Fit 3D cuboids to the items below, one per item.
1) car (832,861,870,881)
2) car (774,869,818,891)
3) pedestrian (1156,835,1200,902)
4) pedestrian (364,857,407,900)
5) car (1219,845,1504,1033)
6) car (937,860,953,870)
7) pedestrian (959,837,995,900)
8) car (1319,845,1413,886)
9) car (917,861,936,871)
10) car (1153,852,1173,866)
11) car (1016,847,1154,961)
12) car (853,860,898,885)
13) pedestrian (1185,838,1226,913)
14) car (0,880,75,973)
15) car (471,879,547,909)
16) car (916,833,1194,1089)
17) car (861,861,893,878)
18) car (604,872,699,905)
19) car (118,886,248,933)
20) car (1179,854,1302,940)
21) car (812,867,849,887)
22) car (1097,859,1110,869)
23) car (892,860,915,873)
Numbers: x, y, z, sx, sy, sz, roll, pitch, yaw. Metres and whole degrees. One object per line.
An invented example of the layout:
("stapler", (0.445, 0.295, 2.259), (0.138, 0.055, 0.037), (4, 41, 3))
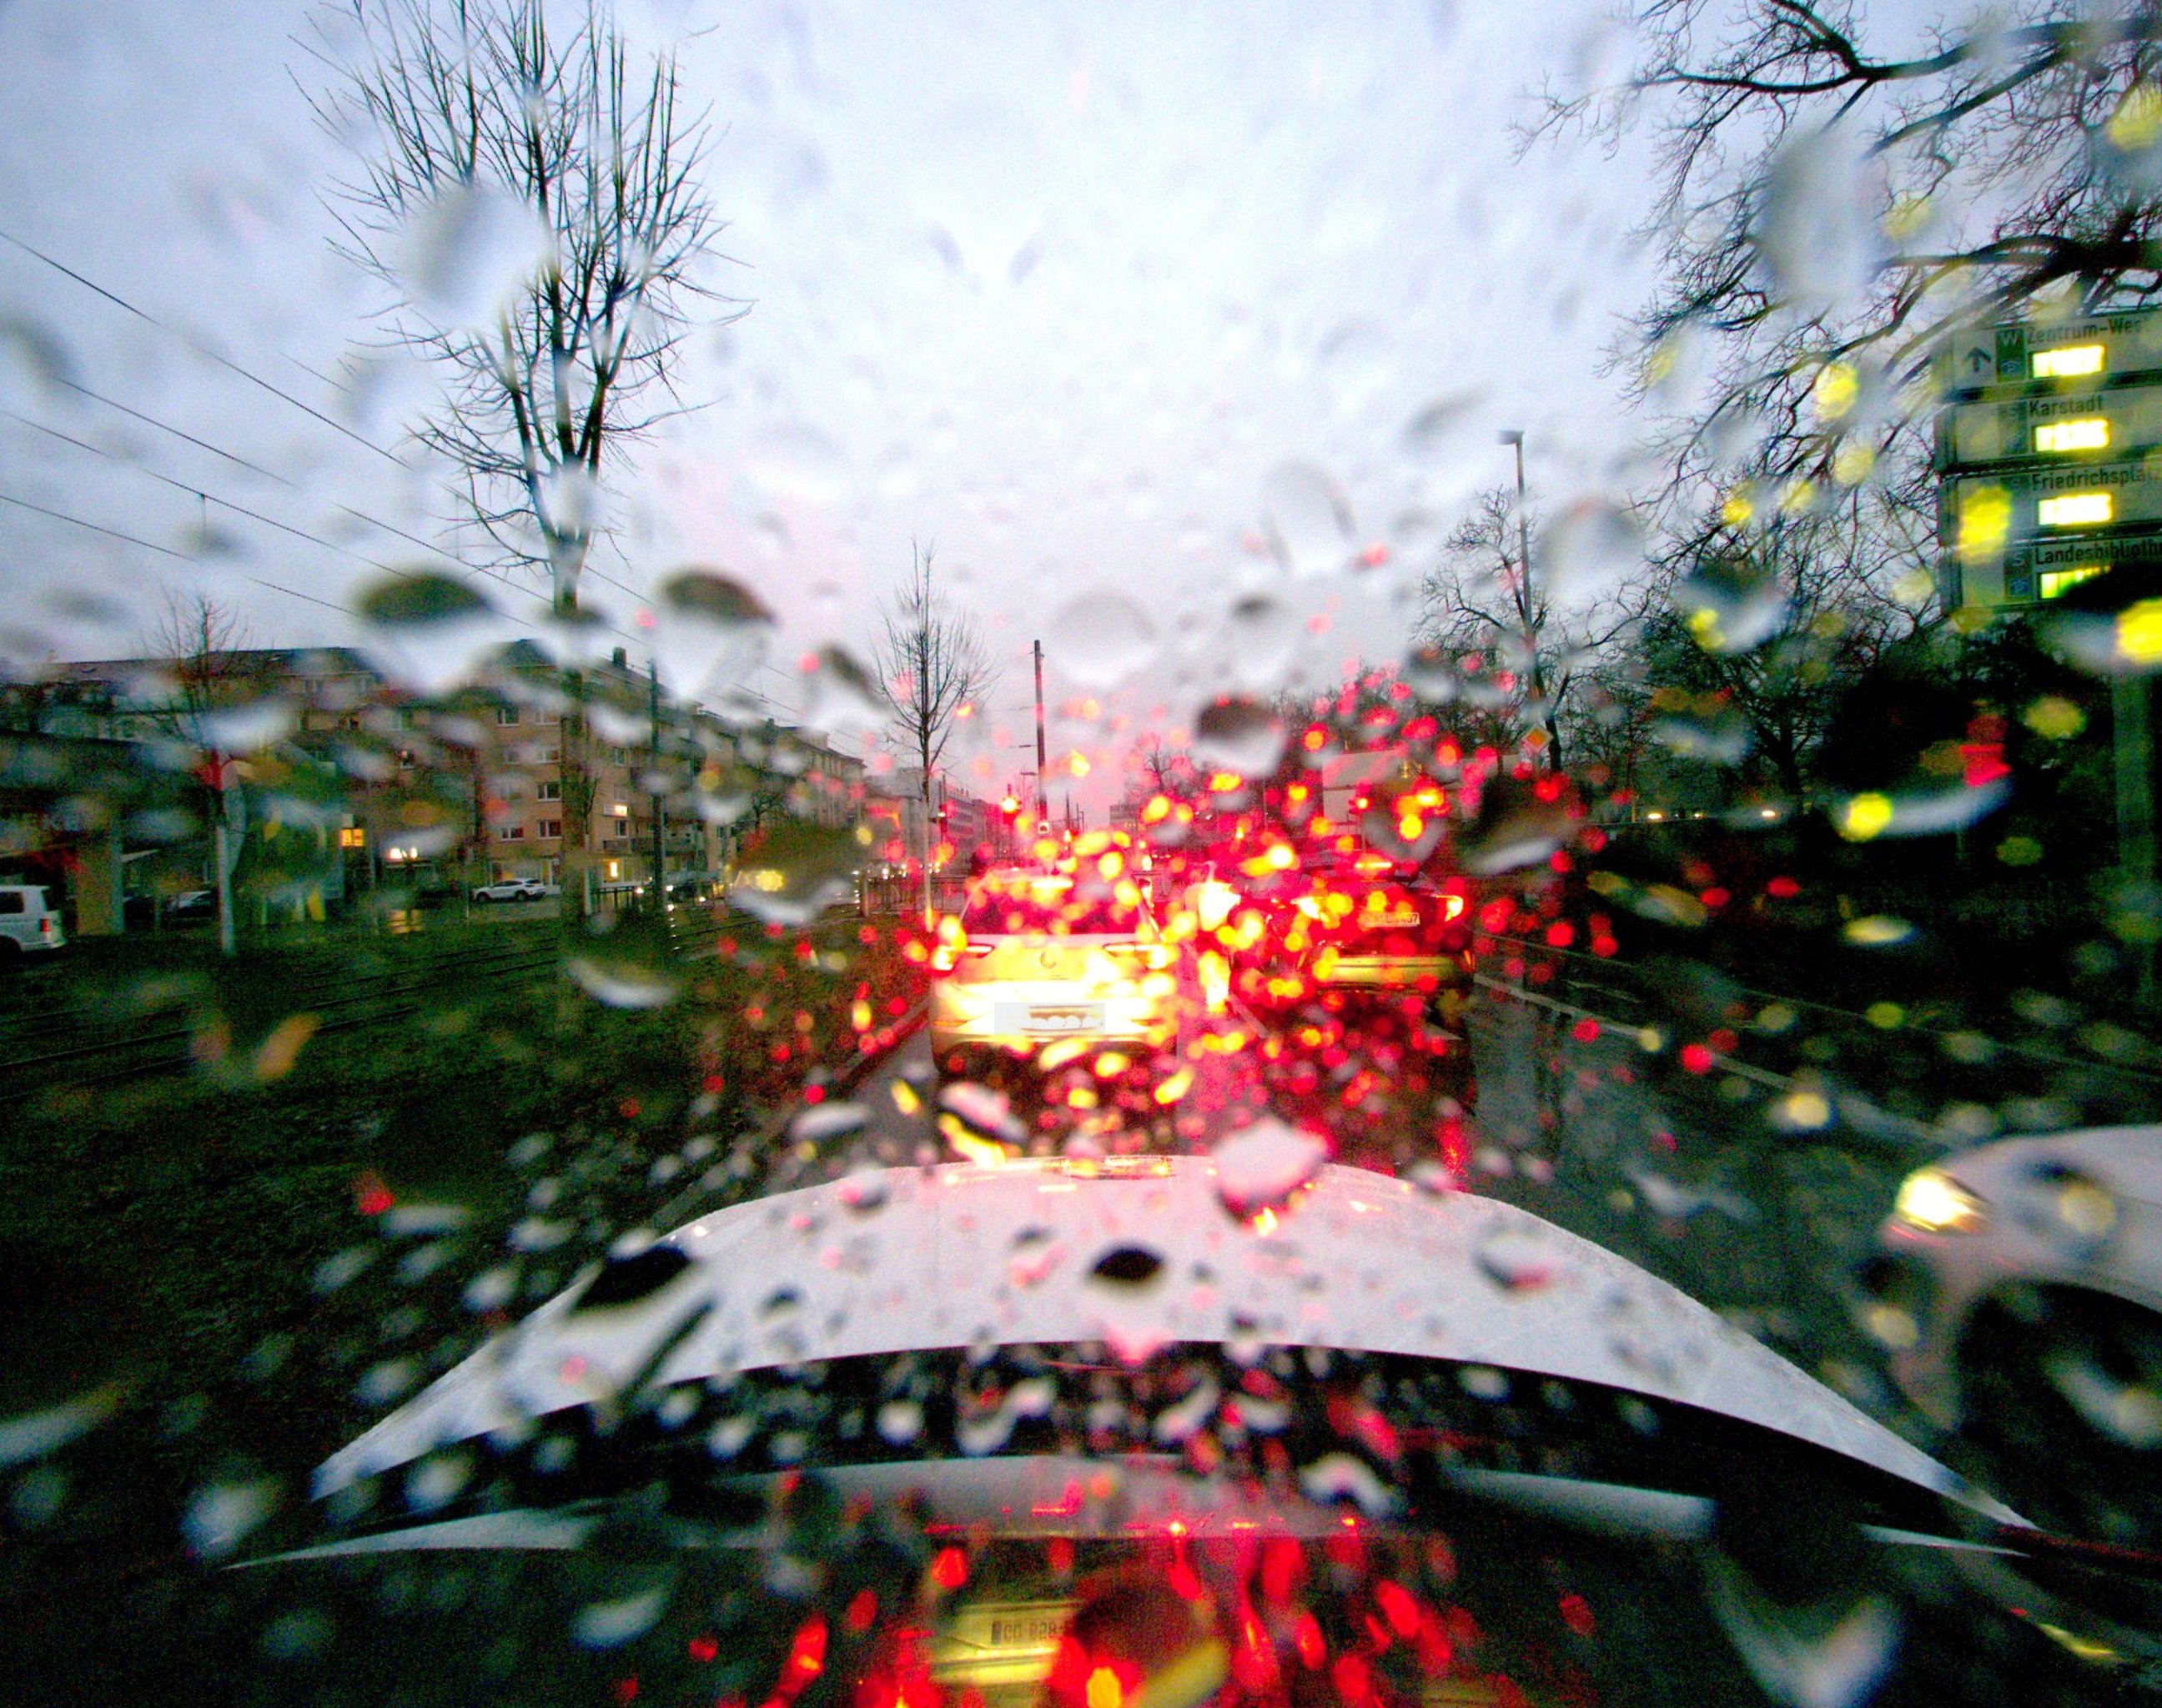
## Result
("car", (-18.862, 1.371, 66.996), (1.860, 1.577, 4.002), (-2, 0, 2))
("car", (-18.849, 1.713, 54.071), (1.688, 1.277, 4.142), (-2, 0, -4))
("pedestrian", (3.040, 0.453, 25.569), (0.962, 2.013, 1.001), (-2, 0, -21))
("pedestrian", (-33.848, 1.160, 39.656), (1.274, 2.013, 1.000), (-2, 0, -22))
("car", (2.662, 0.709, 8.728), (1.793, 1.511, 3.897), (-2, 0, 2))
("car", (-22.815, 1.891, 136.600), (1.942, 1.602, 4.002), (0, 0, 2))
("pedestrian", (-3.459, 0.469, 26.975), (1.006, 2.013, 0.957), (-2, 0, -15))
("car", (13.892, 0.557, 39.834), (4.237, 1.943, 2.009), (0, 0, 18))
("car", (-23.499, 1.811, 123.778), (1.942, 1.602, 4.002), (0, 0, 2))
("car", (8.480, 0.503, 84.556), (1.731, 1.419, 3.705), (-2, 0, 2))
("car", (0.135, 0.657, 13.178), (1.792, 1.466, 4.588), (-2, 0, 2))
("car", (-14.000, 1.248, 55.683), (1.986, 1.602, 4.001), (0, 0, 1))
("pedestrian", (3.465, 0.587, 22.811), (0.955, 2.013, 1.008), (-2, 0, 2))
("car", (-28.570, 1.832, 19.862), (4.859, 2.244, 1.975), (0, 0, -44))
("car", (-38.552, 2.693, 55.000), (3.743, 1.942, 1.838), (0, 0, -6))
("car", (-0.205, 0.642, 7.002), (1.688, 1.533, 3.997), (-1, 0, -2))
("car", (-20.060, 1.464, 80.220), (1.942, 1.602, 4.002), (0, 0, 2))
("car", (-19.220, 1.513, 36.664), (1.852, 1.332, 4.317), (0, 0, 2))
("car", (-43.078, 2.629, 39.212), (1.886, 2.014, 3.876), (0, 0, 2))
("car", (2.880, 0.722, 15.410), (1.738, 1.433, 3.733), (0, 0, 2))
("car", (-22.028, 1.993, 71.787), (1.942, 1.602, 4.002), (0, 0, 2))
("car", (3.329, 1.444, 120.692), (1.731, 1.419, 4.396), (-2, 0, 2))
("car", (-22.925, 1.574, 105.439), (1.942, 1.602, 4.002), (0, 0, 2))
